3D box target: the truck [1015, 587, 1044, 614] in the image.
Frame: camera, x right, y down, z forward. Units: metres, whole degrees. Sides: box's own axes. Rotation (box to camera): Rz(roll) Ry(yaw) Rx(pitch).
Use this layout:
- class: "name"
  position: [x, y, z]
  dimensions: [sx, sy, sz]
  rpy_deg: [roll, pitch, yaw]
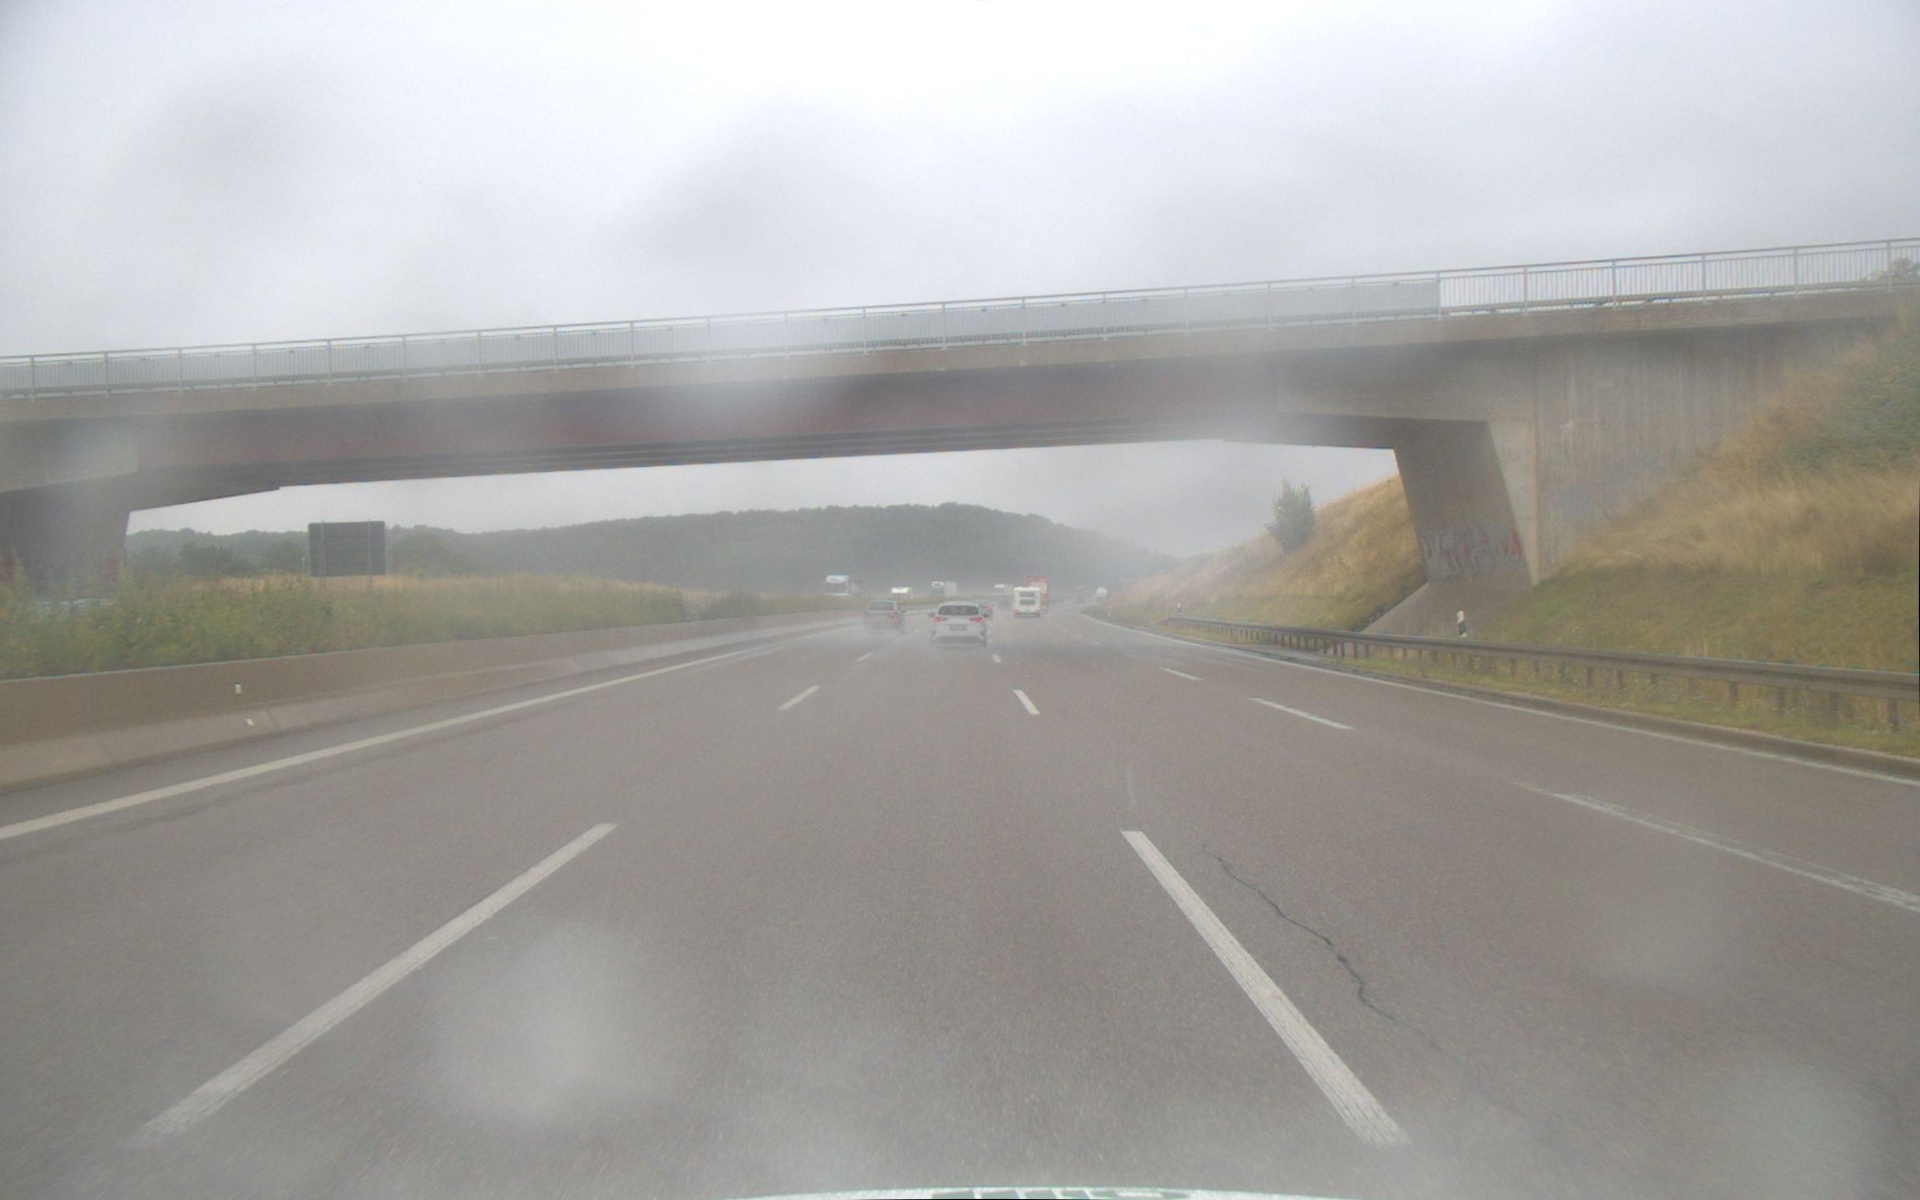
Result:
- class: "truck"
  position: [5.951, 0.048, 140.888]
  dimensions: [2.357, 2.292, 4.695]
  rpy_deg: [0, 0, 3]

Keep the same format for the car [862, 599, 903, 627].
- class: "car"
  position: [-3.459, 0.605, 73.753]
  dimensions: [1.787, 1.177, 4.210]
  rpy_deg: [1, -1, -3]

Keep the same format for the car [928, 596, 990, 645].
- class: "car"
  position: [-0.081, 0.636, 52.472]
  dimensions: [1.830, 1.488, 3.998]
  rpy_deg: [0, -1, -2]

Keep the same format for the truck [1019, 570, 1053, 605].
- class: "truck"
  position: [8.737, -1.483, 190.893]
  dimensions: [3.455, 3.808, 11.427]
  rpy_deg: [1, 1, 1]

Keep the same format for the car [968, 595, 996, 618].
- class: "car"
  position: [1.581, 0.452, 119.364]
  dimensions: [1.952, 1.646, 4.001]
  rpy_deg: [0, 0, 1]
